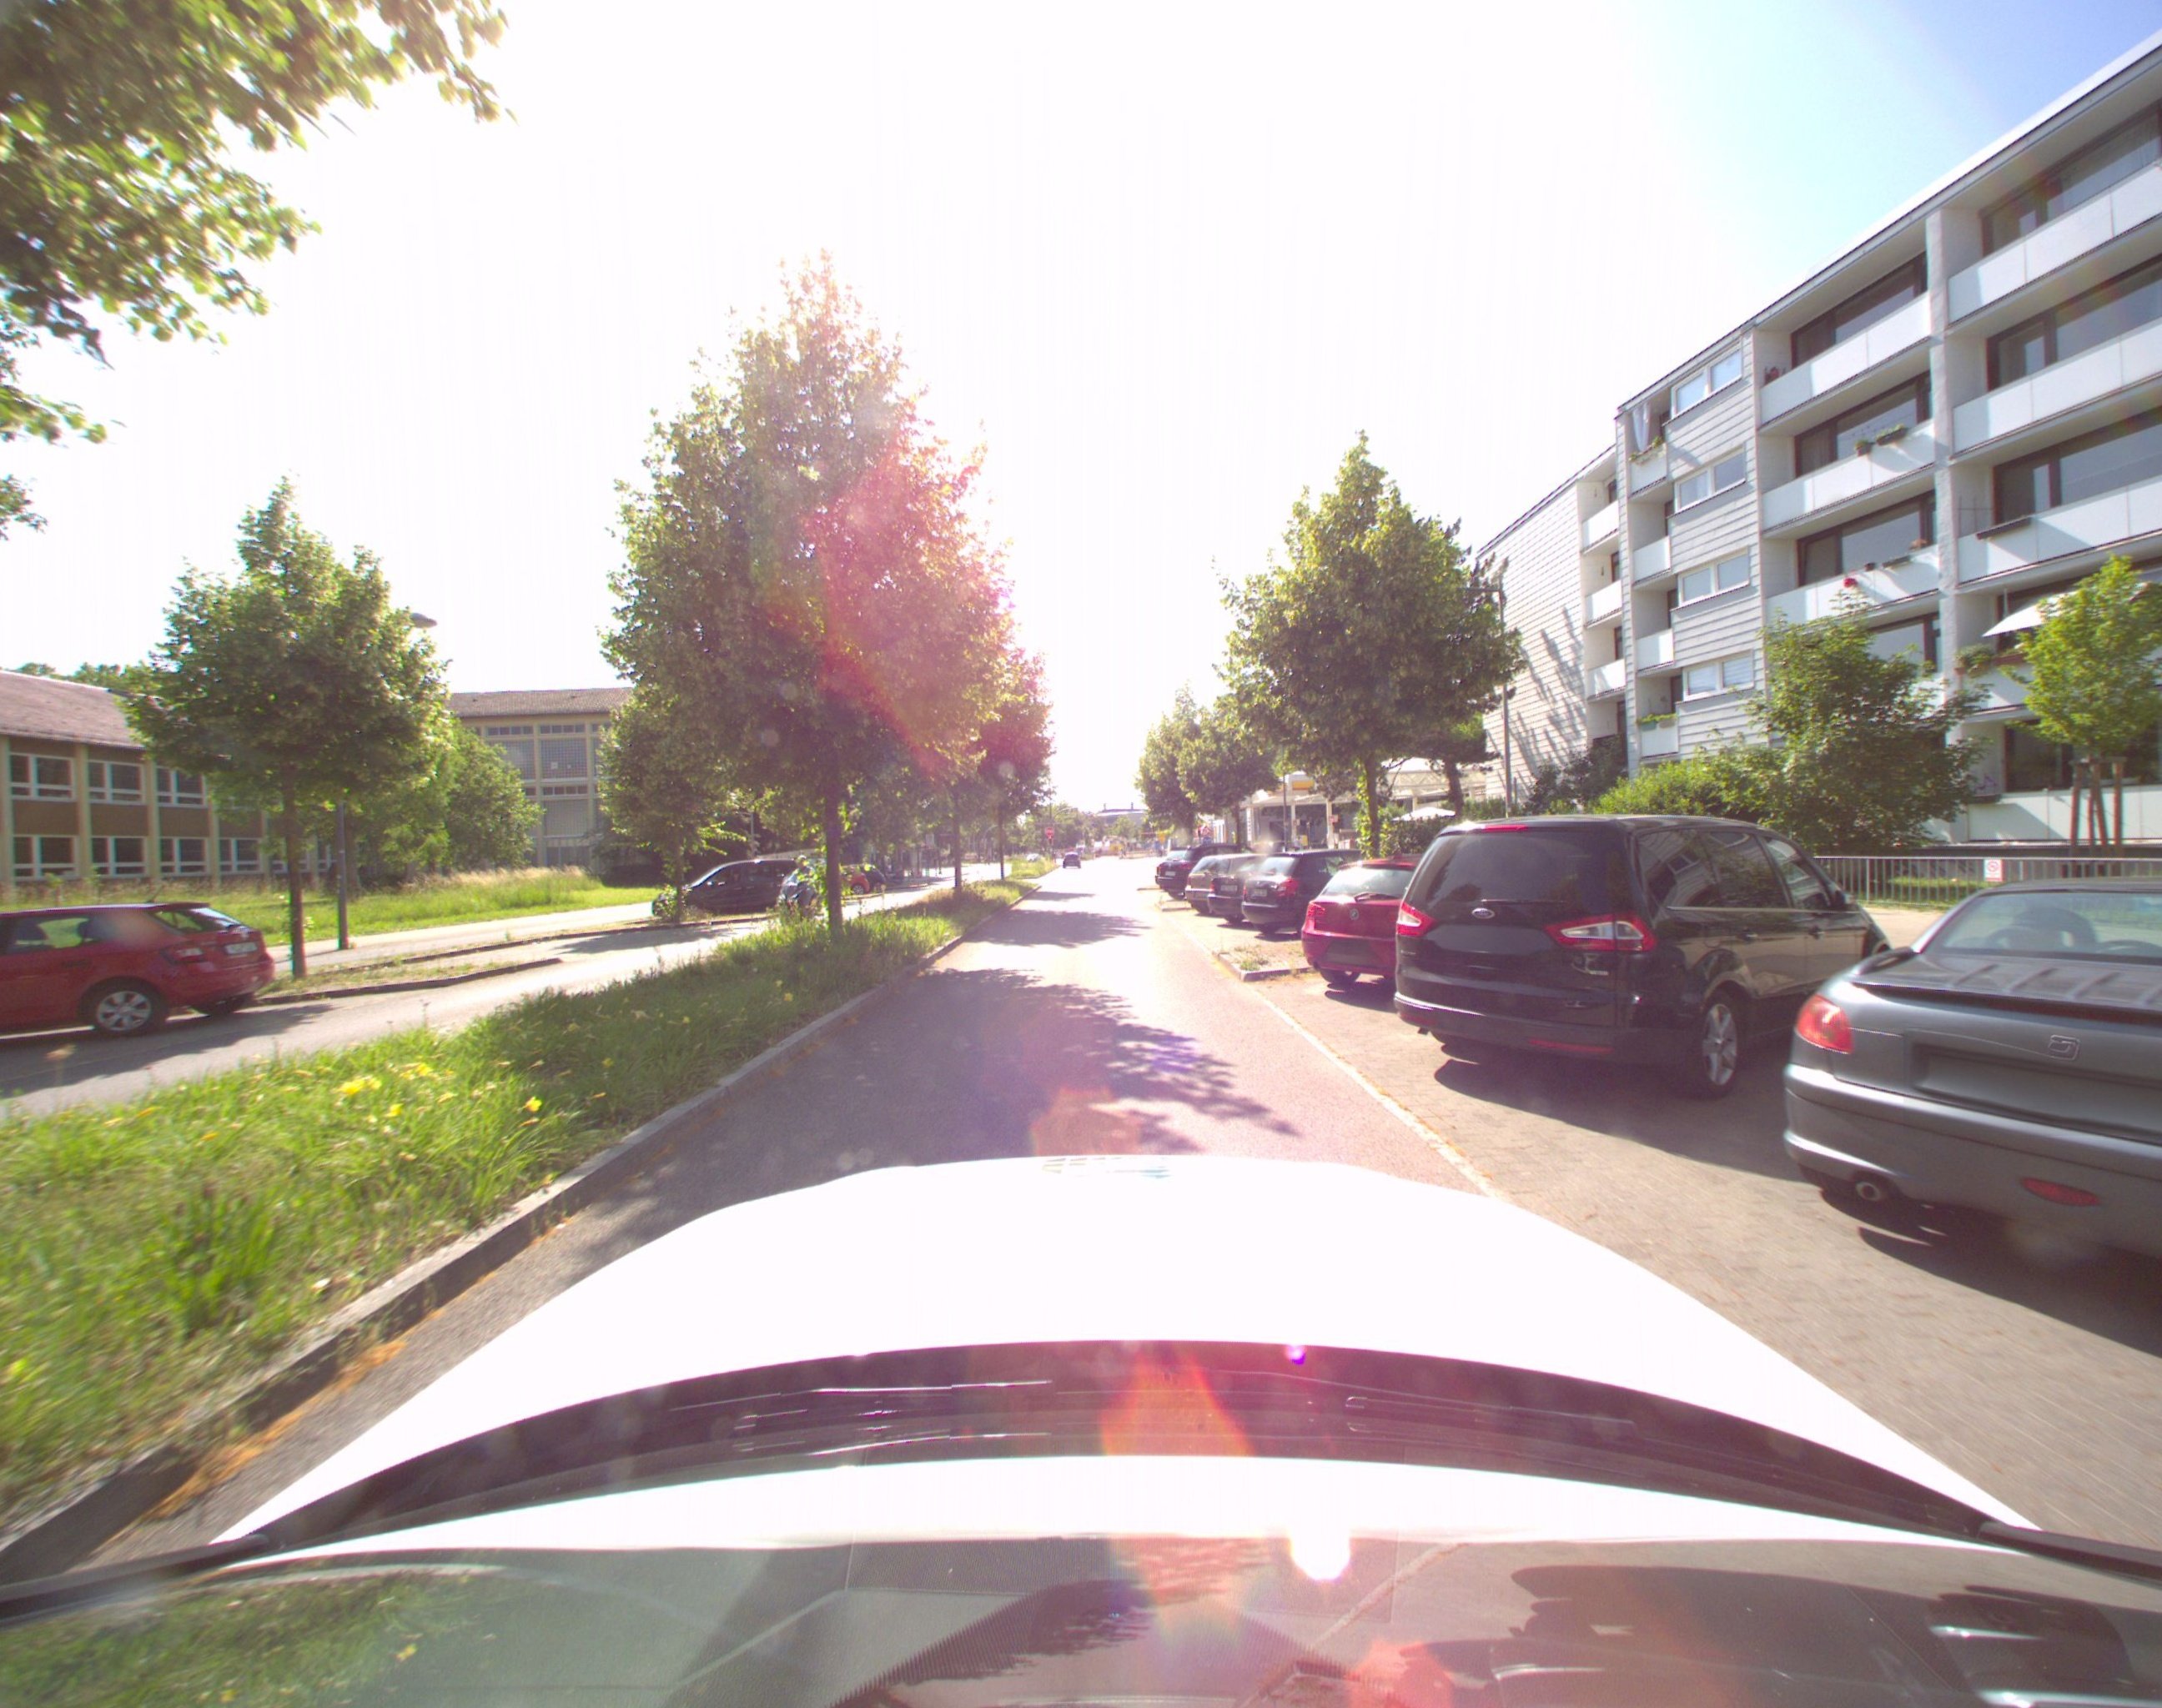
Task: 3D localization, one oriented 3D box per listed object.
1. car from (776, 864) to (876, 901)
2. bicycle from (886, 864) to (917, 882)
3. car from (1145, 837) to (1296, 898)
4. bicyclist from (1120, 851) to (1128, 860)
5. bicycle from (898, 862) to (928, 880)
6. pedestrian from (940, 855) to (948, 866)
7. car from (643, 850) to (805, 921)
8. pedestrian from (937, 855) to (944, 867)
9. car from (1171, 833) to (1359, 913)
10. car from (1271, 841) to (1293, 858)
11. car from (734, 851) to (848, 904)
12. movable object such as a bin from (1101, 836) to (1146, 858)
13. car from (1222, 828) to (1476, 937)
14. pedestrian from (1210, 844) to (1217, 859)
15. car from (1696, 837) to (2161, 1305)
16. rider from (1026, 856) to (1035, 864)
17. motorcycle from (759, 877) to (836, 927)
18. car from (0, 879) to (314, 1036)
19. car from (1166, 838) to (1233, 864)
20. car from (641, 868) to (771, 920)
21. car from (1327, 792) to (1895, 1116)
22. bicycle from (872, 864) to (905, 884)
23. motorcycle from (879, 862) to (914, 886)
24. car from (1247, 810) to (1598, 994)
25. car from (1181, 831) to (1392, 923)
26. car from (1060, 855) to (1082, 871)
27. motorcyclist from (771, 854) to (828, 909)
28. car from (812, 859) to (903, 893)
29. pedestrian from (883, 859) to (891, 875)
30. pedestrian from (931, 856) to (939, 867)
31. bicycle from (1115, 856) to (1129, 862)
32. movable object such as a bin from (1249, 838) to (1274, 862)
[{"bbox_3d":[-11.282,1.219,36.053,3.859,1.423,1.697,-2,0,-35],"label":"car"},{"bbox_3d":[-11.795,1.228,53.629,1.838,1.106,0.693,-2,0,1],"label":"bicycle"},{"bbox_3d":[4.452,0.386,25.758,4.764,1.660,1.735,-2,0,-33],"label":"car"},{"bbox_3d":[6.391,0.284,121.002,1.048,1.275,0.492,-2,0,0],"label":"bicyclist"},{"bbox_3d":[-11.312,1.171,54.864,1.838,1.122,0.693,-2,0,1],"label":"bicycle"},{"bbox_3d":[-20.066,1.001,119.571,0.648,1.611,0.947,-2,0,24],"label":"pedestrian"},{"bbox_3d":[-11.009,0.904,25.218,4.208,1.816,1.982,-3,1,-37],"label":"car"},{"bbox_3d":[-20.765,1.028,120.319,0.648,1.611,0.947,-2,0,24],"label":"pedestrian"},{"bbox_3d":[4.355,0.419,19.473,3.989,1.640,1.746,-2,0,-12],"label":"car"},{"bbox_3d":[17.494,-0.365,71.090,1.639,1.398,3.653,-2,0,11],"label":"car"},{"bbox_3d":[-11.083,0.860,31.178,3.787,1.772,1.801,-2,0,-31],"label":"car"},{"bbox_3d":[9.363,-1.601,180.207,9.637,4.549,3.166,-2,0,2],"label":"movable object such as a bin"},{"bbox_3d":[4.738,0.444,14.502,3.999,1.640,1.789,-2,0,-19],"label":"car"},{"bbox_3d":[14.118,-0.240,86.873,0.616,1.543,0.461,-2,0,0],"label":"pedestrian"},{"bbox_3d":[4.728,0.588,3.429,4.007,1.236,1.738,-2,0,-25],"label":"car"},{"bbox_3d":[-8.192,0.917,132.849,1.387,1.196,2.696,-2,0,-2],"label":"rider"},{"bbox_3d":[-6.592,1.098,19.098,0.920,0.992,2.236,-2,0,2],"label":"motorcycle"},{"bbox_3d":[-11.848,1.178,9.254,4.001,1.466,1.986,-4,1,-21],"label":"car"},{"bbox_3d":[13.946,-0.383,96.302,7.411,2.674,2.900,-2,1,-3],"label":"car"},{"bbox_3d":[-12.674,1.300,27.535,3.787,1.427,1.838,-3,1,-31],"label":"car"},{"bbox_3d":[4.065,0.453,6.101,4.136,1.640,2.023,-2,0,-33],"label":"car"},{"bbox_3d":[-11.814,1.229,50.028,1.838,1.092,0.693,-2,0,1],"label":"bicycle"},{"bbox_3d":[-10.637,1.128,47.058,1.843,1.284,0.691,-2,0,-6],"label":"motorcycle"},{"bbox_3d":[3.960,0.398,9.194,4.019,1.640,1.859,-2,-1,-38],"label":"car"},{"bbox_3d":[4.300,0.408,17.061,4.002,1.640,1.740,-2,1,-22],"label":"car"},{"bbox_3d":[-0.983,0.800,77.569,1.989,1.398,3.996,-2,0,-2],"label":"car"},{"bbox_3d":[-6.624,0.637,19.190,0.897,1.221,1.062,-2,0,1],"label":"motorcyclist"},{"bbox_3d":[-10.779,1.055,39.313,3.794,1.423,1.834,-2,0,-40],"label":"car"},{"bbox_3d":[-20.799,1.377,87.303,0.660,1.726,0.749,-2,0,-17],"label":"pedestrian"},{"bbox_3d":[-21.536,1.059,120.347,0.648,1.611,0.947,-2,0,24],"label":"pedestrian"},{"bbox_3d":[6.091,0.708,121.011,1.993,0.883,0.527,-2,0,0],"label":"bicycle"},{"bbox_3d":[12.753,-0.273,57.492,1.304,1.592,1.395,-5,0,-2],"label":"movable object such as a bin"}]
